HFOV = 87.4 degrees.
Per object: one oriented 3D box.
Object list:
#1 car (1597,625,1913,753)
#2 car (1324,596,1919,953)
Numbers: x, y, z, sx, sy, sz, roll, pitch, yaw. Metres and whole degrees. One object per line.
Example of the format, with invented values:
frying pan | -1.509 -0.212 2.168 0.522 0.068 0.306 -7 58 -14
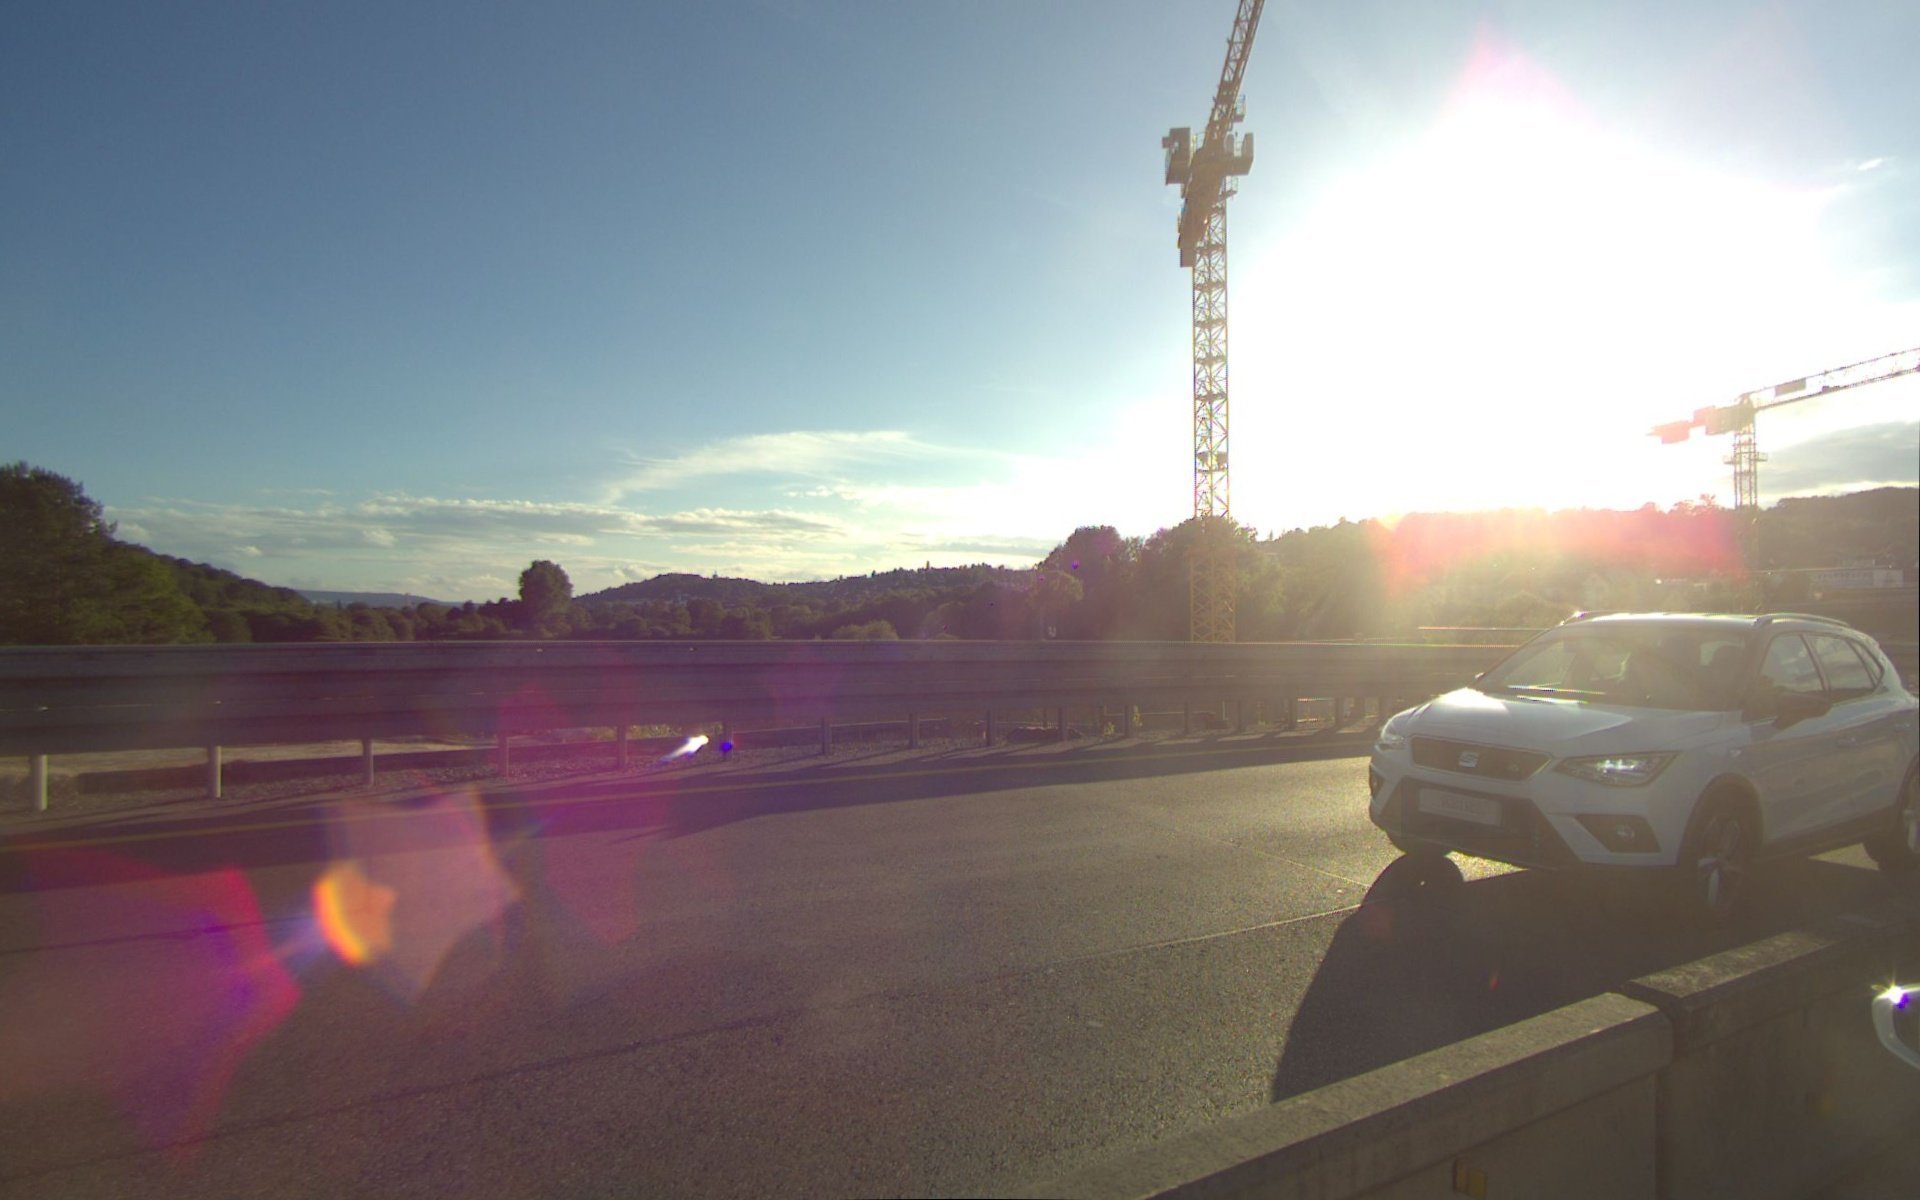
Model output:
car | 10.432 1.083 13.099 4.480 1.400 1.765 2 -2 -31
car | 4.273 0.774 6.118 3.954 1.532 1.795 1 0 -31
